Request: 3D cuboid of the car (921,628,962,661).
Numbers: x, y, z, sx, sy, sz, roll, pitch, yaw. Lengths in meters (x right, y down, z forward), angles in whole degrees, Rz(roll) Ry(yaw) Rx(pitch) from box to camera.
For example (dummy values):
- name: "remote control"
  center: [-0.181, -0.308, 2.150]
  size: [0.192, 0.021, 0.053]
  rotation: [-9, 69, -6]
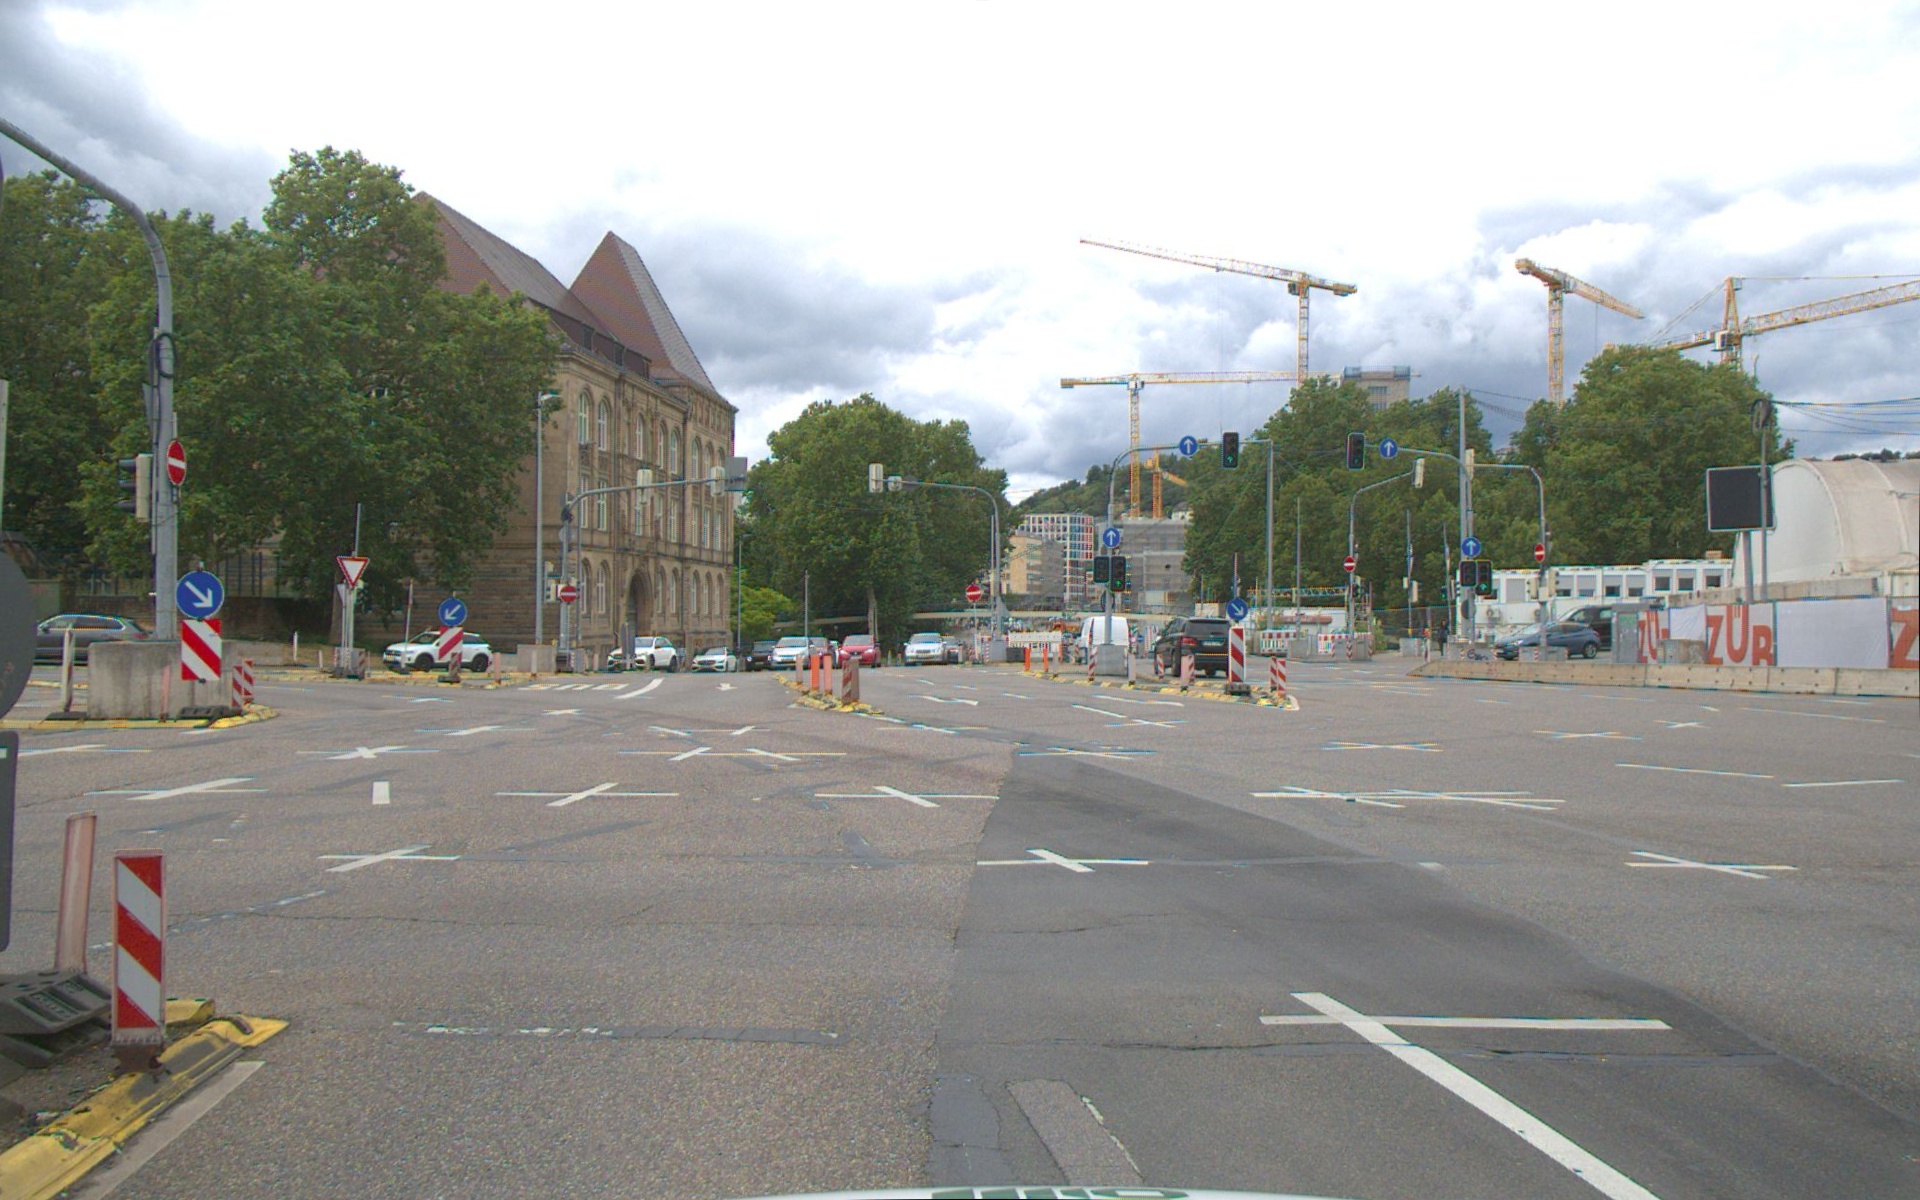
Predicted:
- name: "car"
  center: [-0.867, 2.138, 78.854]
  size: [1.653, 1.460, 3.448]
  rotation: [-2, -2, 3]

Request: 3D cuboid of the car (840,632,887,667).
- name: "car"
  center: [-4.211, 2.137, 72.261]
  size: [1.650, 1.460, 3.448]
  rotation: [-1, -1, 3]

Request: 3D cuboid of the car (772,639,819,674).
- name: "car"
  center: [-7.301, 2.548, 73.587]
  size: [1.626, 1.461, 3.446]
  rotation: [-2, -3, 1]

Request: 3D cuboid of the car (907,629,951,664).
- name: "car"
  center: [-1.336, 2.046, 72.319]
  size: [1.653, 1.460, 3.448]
  rotation: [-2, -2, 3]

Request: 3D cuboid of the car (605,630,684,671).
- name: "car"
  center: [-13.759, 2.187, 72.292]
  size: [1.773, 1.671, 4.555]
  rotation: [1, -1, 11]

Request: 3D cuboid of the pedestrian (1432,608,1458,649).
- name: "pedestrian"
  center: [19.736, 1.167, 67.302]
  size: [0.611, 1.620, 0.846]
  rotation: [0, -2, -19]

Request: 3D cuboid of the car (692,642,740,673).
- name: "car"
  center: [-12.503, 2.928, 84.917]
  size: [1.698, 1.460, 4.381]
  rotation: [1, -1, 1]

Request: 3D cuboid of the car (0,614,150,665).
- name: "car"
  center: [-28.889, 1.279, 53.892]
  size: [4.411, 1.595, 1.814]
  rotation: [1, 0, -27]

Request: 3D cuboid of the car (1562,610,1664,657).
- name: "car"
  center: [29.286, 1.499, 74.206]
  size: [3.925, 2.049, 1.990]
  rotation: [1, 0, -18]

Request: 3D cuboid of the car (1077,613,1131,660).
- name: "car"
  center: [5.492, 1.416, 63.370]
  size: [1.723, 1.717, 3.641]
  rotation: [0, -2, -1]

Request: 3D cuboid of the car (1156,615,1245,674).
- name: "car"
  center: [7.063, 1.330, 48.961]
  size: [1.900, 1.696, 3.639]
  rotation: [0, -2, -4]

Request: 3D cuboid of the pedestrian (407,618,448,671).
- name: "pedestrian"
  center: [-20.824, 1.750, 64.644]
  size: [1.182, 2.049, 1.188]
  rotation: [1, -2, -37]

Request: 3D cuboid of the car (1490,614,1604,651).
- name: "car"
  center: [23.133, 1.273, 65.207]
  size: [3.989, 1.460, 1.778]
  rotation: [0, -1, -17]

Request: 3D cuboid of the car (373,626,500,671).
- name: "car"
  center: [-19.491, 1.808, 61.756]
  size: [1.722, 1.595, 4.312]
  rotation: [1, -1, 37]

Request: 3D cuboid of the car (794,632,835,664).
- name: "car"
  center: [-7.061, 2.321, 80.519]
  size: [1.626, 1.460, 3.447]
  rotation: [1, -1, 1]

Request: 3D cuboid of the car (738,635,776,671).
- name: "car"
  center: [-12.375, 3.237, 100.905]
  size: [1.893, 1.972, 3.670]
  rotation: [-2, -5, -2]
